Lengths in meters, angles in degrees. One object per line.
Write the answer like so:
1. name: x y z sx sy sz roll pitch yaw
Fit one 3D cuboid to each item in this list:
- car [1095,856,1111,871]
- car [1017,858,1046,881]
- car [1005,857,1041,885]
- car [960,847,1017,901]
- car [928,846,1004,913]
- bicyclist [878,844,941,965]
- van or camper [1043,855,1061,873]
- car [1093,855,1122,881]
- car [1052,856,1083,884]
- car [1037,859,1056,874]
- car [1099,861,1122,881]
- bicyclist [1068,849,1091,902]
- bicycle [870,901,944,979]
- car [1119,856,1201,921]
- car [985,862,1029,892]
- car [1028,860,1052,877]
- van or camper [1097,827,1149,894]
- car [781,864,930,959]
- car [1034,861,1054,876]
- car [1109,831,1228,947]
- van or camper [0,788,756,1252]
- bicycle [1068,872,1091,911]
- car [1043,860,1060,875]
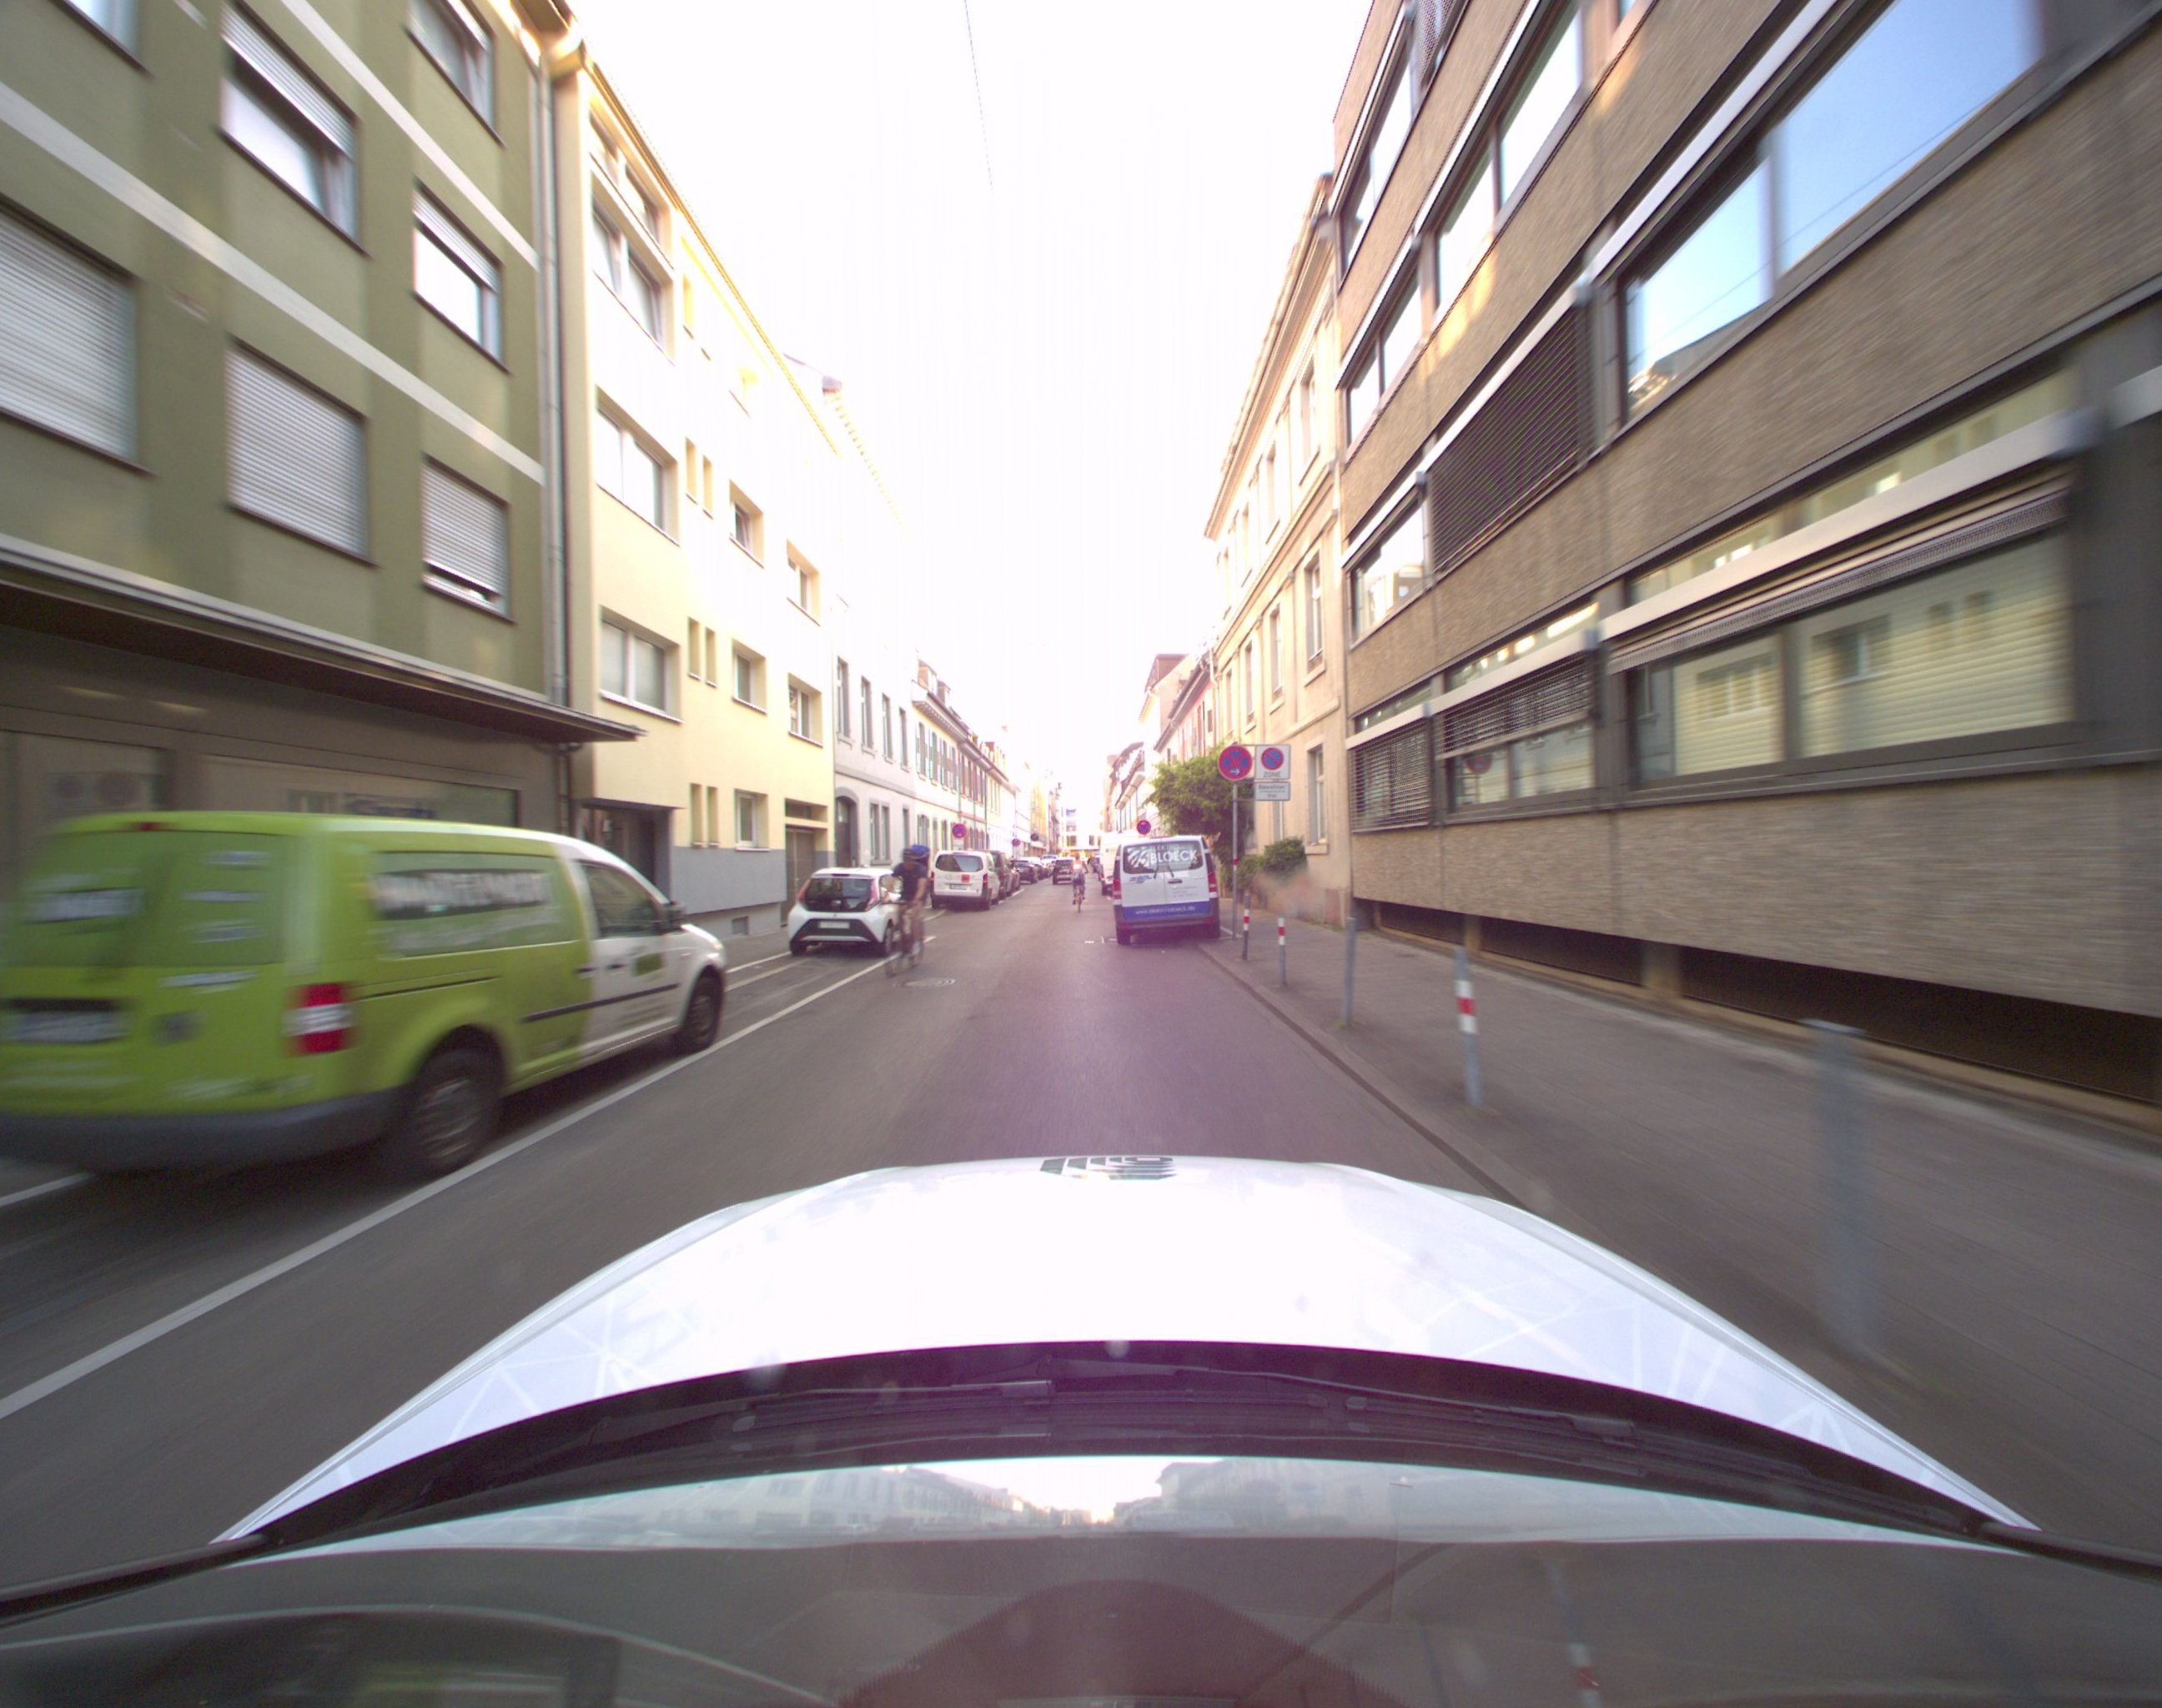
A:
1. car: 2.309 0.999 86.143 1.648 1.561 3.606 0 0 1
2. car: -3.766 1.188 62.817 1.992 1.707 4.533 0 0 -1
3. car: -3.629 1.034 51.657 1.796 1.676 4.491 -2 0 2
4. car: -3.785 0.784 34.026 1.857 2.013 4.812 -2 0 -1
5. car: -3.776 0.794 27.638 1.857 2.013 5.104 -2 0 -1
6. bicyclist: -2.430 0.689 11.630 0.621 1.639 1.081 -1 -1 1
7. van or camper: -3.258 1.130 91.651 1.838 2.013 4.678 0 0 1
8. car: 1.833 0.941 56.568 1.813 1.530 5.073 -5 -1 2
9. car: -0.792 0.927 49.414 1.813 1.618 3.999 0 0 0
10. car: -3.429 1.240 80.889 1.648 1.411 3.606 0 0 1
11. car: 2.694 1.501 74.074 1.912 1.738 4.151 0 0 -1
12. bicyclist: -0.041 0.636 24.420 0.618 1.574 0.684 -1 -1 1
13. bicycle: -2.445 1.183 11.620 0.631 0.922 1.779 -1 -1 1
14. car: 1.970 0.835 21.351 1.650 1.505 3.751 -2 0 -2
15. car: -3.738 1.143 41.714 1.758 1.401 4.263 -1 0 1
16. car: -3.445 1.218 69.348 1.912 1.434 4.291 0 0 -1
17. van or camper: 1.791 0.266 36.444 2.043 2.637 7.064 -2 0 1
18. car: -3.928 0.940 14.787 1.656 1.449 3.520 2 -1 0
19. car: -3.427 1.339 75.797 1.648 1.411 3.902 0 0 1
20. car: 1.616 0.604 16.426 1.928 1.898 5.280 -2 0 3
21. van or camper: -3.956 0.695 5.414 1.766 1.848 4.179 -2 0 1
22. bicycle: -0.028 1.103 24.478 0.611 1.082 1.810 -1 -1 1
23. car: -3.084 1.378 85.867 1.648 1.561 3.606 0 0 1
